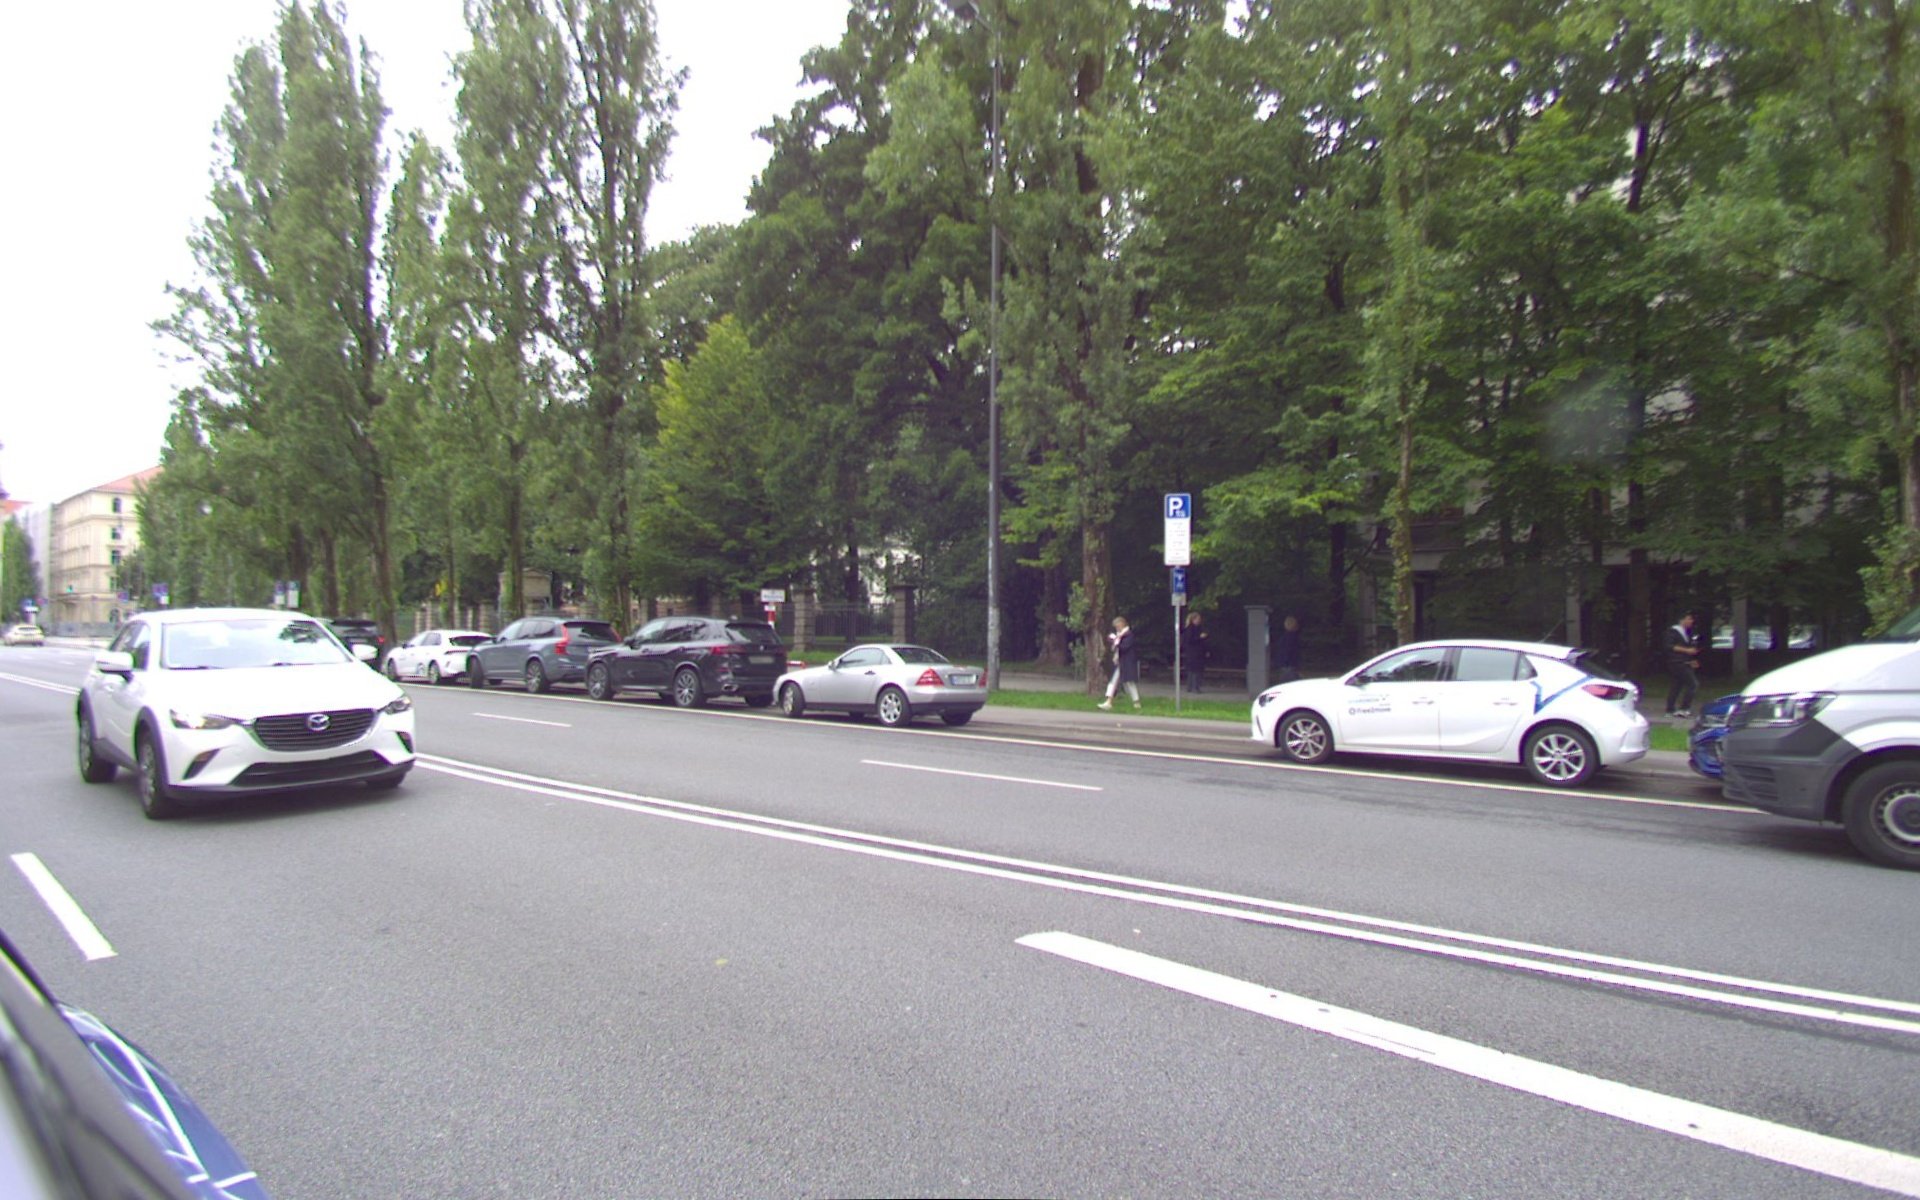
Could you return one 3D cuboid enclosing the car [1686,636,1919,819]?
[{"bbox_3d":[8.462,1.075,8.641,3.582,1.462,1.692,-1,-4,39],"label":"car"}]

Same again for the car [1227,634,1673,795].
[{"bbox_3d":[5.357,1.152,11.363,4.229,1.463,1.753,-1,-4,39],"label":"car"}]

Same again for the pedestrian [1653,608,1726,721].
[{"bbox_3d":[12.040,1.035,16.706,0.889,1.785,0.729,-1,-1,41],"label":"pedestrian"}]

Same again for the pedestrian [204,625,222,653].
[{"bbox_3d":[-47.491,2.475,64.343,0.885,1.713,0.681,-2,-3,39],"label":"pedestrian"}]

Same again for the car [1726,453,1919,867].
[{"bbox_3d":[8.401,0.363,5.417,6.751,2.502,2.205,-1,-4,39],"label":"car"}]

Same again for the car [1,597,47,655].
[{"bbox_3d":[-64.793,1.793,70.022,4.495,1.335,1.778,43,12,34],"label":"car"}]

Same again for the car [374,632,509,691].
[{"bbox_3d":[-14.095,1.623,27.417,4.269,1.470,1.687,-1,-4,40],"label":"car"}]

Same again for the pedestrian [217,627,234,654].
[{"bbox_3d":[-47.101,2.591,64.934,0.910,1.729,0.653,-2,-3,39],"label":"pedestrian"}]

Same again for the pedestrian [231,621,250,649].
[{"bbox_3d":[-45.191,2.201,63.582,1.092,1.786,0.702,-2,-2,39],"label":"pedestrian"}]

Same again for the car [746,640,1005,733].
[{"bbox_3d":[-1.482,1.371,16.843,4.230,1.344,1.808,-1,-5,40],"label":"car"}]

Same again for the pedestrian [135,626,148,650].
[{"bbox_3d":[-59.240,2.766,73.212,0.581,1.744,0.527,-1,-2,29],"label":"pedestrian"}]

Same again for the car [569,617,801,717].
[{"bbox_3d":[-5.579,1.291,20.223,4.890,1.781,1.922,-1,-5,39],"label":"car"}]

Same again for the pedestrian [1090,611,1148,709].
[{"bbox_3d":[2.813,1.051,17.933,0.751,1.677,0.730,-2,-3,41],"label":"pedestrian"}]

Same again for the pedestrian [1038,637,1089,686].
[{"bbox_3d":[2.668,1.567,25.983,0.922,1.187,0.957,-1,-1,40],"label":"pedestrian"}]

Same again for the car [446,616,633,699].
[{"bbox_3d":[-10.151,1.349,24.222,5.175,1.803,1.890,-1,-5,40],"label":"car"}]

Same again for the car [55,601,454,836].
[{"bbox_3d":[-6.160,0.842,8.677,4.007,1.537,1.885,-2,-2,41],"label":"car"}]

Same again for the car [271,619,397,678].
[{"bbox_3d":[-20.461,1.572,33.003,4.796,1.800,2.025,-1,-4,40],"label":"car"}]

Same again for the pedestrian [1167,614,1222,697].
[{"bbox_3d":[5.094,1.194,21.969,0.956,1.755,0.659,-2,-2,41],"label":"pedestrian"}]

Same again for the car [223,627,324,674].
[{"bbox_3d":[-25.233,1.840,37.149,4.386,1.596,1.924,-2,-4,41],"label":"car"}]

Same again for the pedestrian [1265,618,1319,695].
[{"bbox_3d":[7.162,1.192,21.852,0.881,1.611,0.729,-1,-1,41],"label":"pedestrian"}]

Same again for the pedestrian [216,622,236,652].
[{"bbox_3d":[-45.673,2.279,62.981,1.092,1.847,0.702,-2,-2,39],"label":"pedestrian"}]
